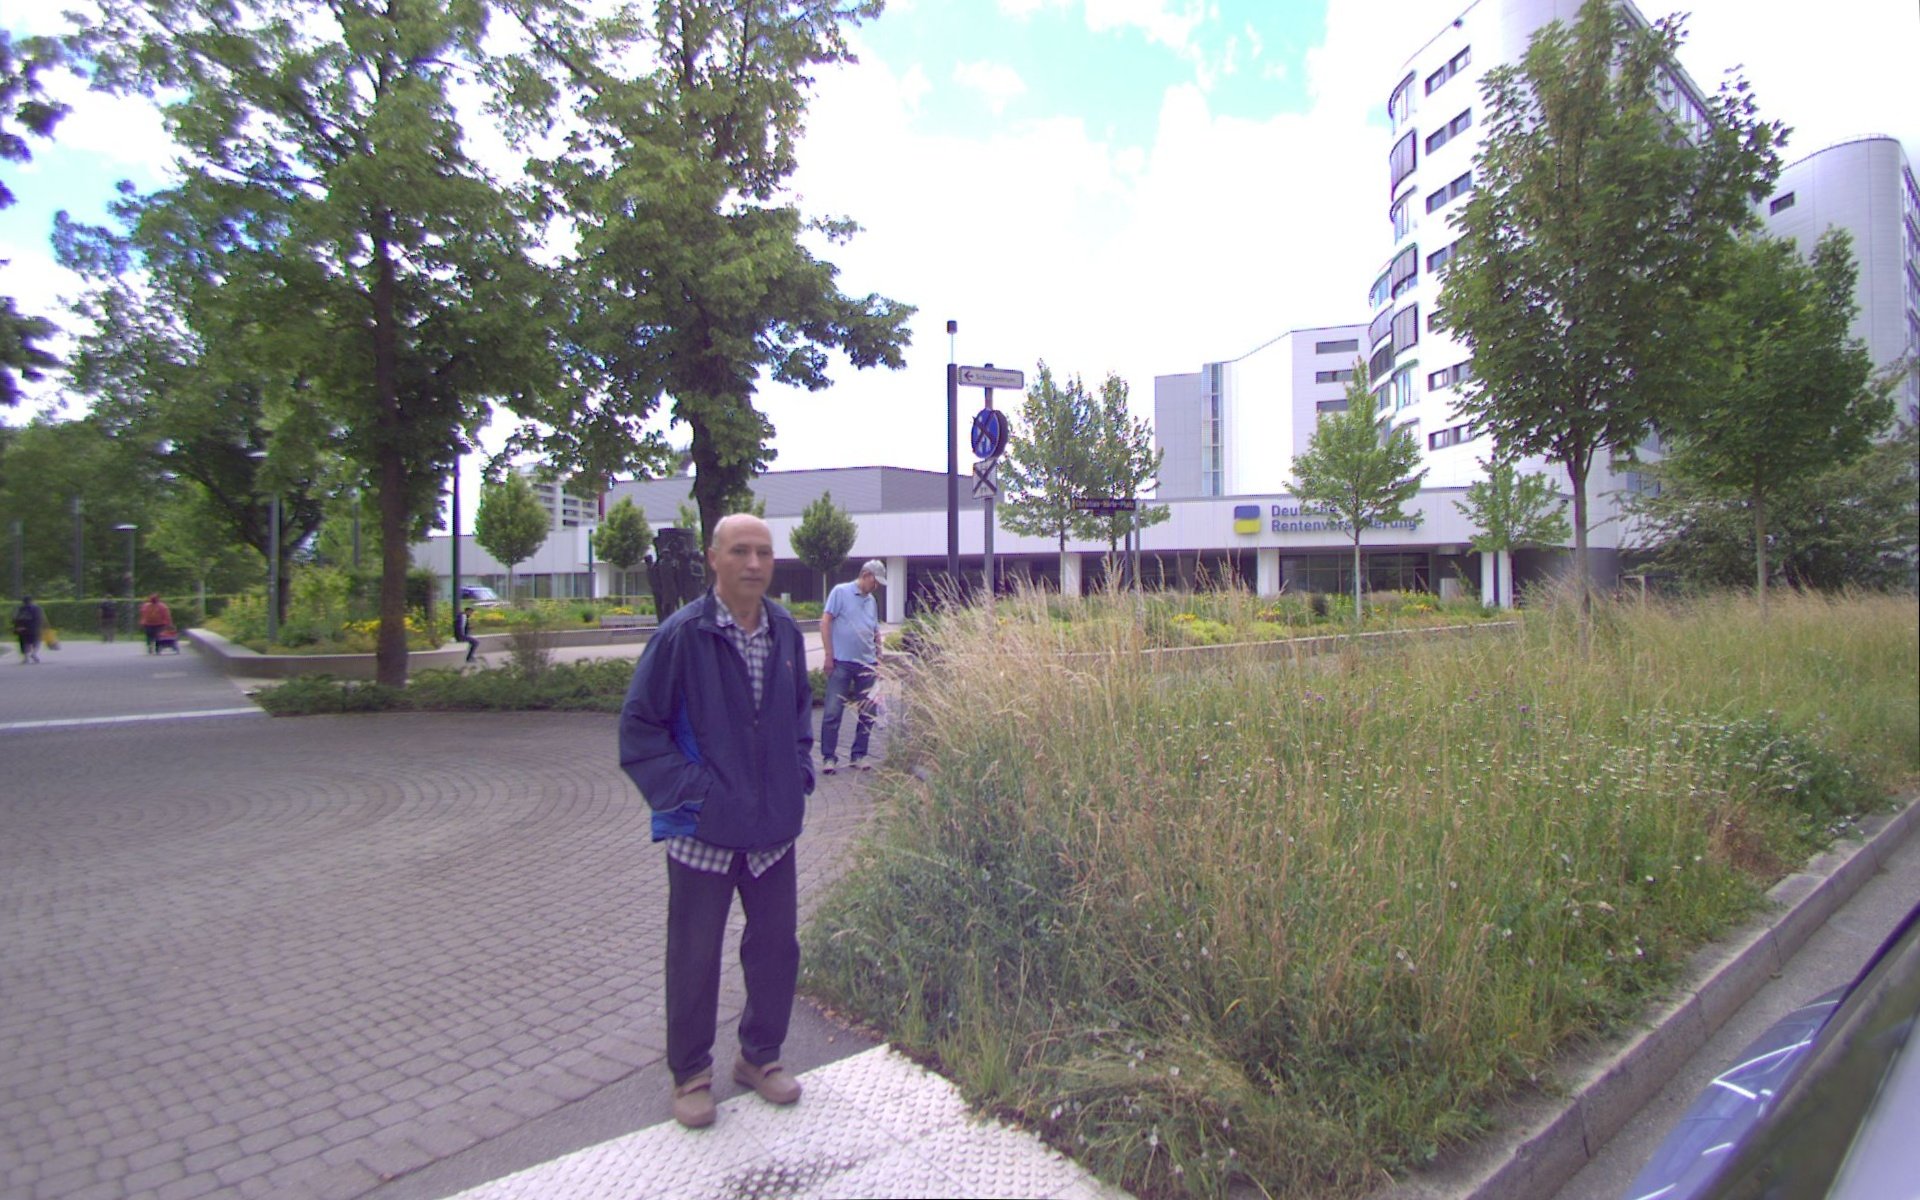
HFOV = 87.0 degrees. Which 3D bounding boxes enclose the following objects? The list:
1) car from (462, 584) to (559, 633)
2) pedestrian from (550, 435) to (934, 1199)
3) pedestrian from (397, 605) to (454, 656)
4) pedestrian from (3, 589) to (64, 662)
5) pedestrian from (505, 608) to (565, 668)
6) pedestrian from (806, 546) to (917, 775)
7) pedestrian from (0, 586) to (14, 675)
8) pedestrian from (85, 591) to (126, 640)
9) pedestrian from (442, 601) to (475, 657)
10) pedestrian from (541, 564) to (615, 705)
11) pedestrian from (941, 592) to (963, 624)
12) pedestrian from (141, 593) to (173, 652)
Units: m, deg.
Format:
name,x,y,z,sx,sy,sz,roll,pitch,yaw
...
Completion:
name,x,y,z,sx,sy,sz,roll,pitch,yaw
car,-17.223,0.304,38.729,3.473,1.788,1.622,-1,1,29
pedestrian,-0.648,0.504,2.882,0.715,1.762,0.955,0,0,-40
pedestrian,-10.182,0.572,19.301,0.736,0.960,0.713,0,0,-1
pedestrian,-21.760,0.568,23.769,0.867,1.672,0.978,0,0,41
pedestrian,-6.577,0.577,15.674,0.685,0.874,0.651,0,1,-42
pedestrian,-0.836,0.471,8.493,0.714,1.813,0.694,0,0,-28
pedestrian,-18.571,0.565,19.086,0.867,1.672,0.978,0,0,41
pedestrian,-29.592,0.528,35.053,0.867,1.672,0.978,0,0,41
pedestrian,-11.713,0.660,23.631,0.560,1.278,0.581,-1,0,-41
pedestrian,-4.826,0.411,12.777,0.685,1.716,0.651,0,0,-42
pedestrian,-0.327,0.309,41.409,0.870,1.290,0.704,0,0,4
pedestrian,-20.905,0.576,26.342,0.624,1.520,0.703,0,0,-41
